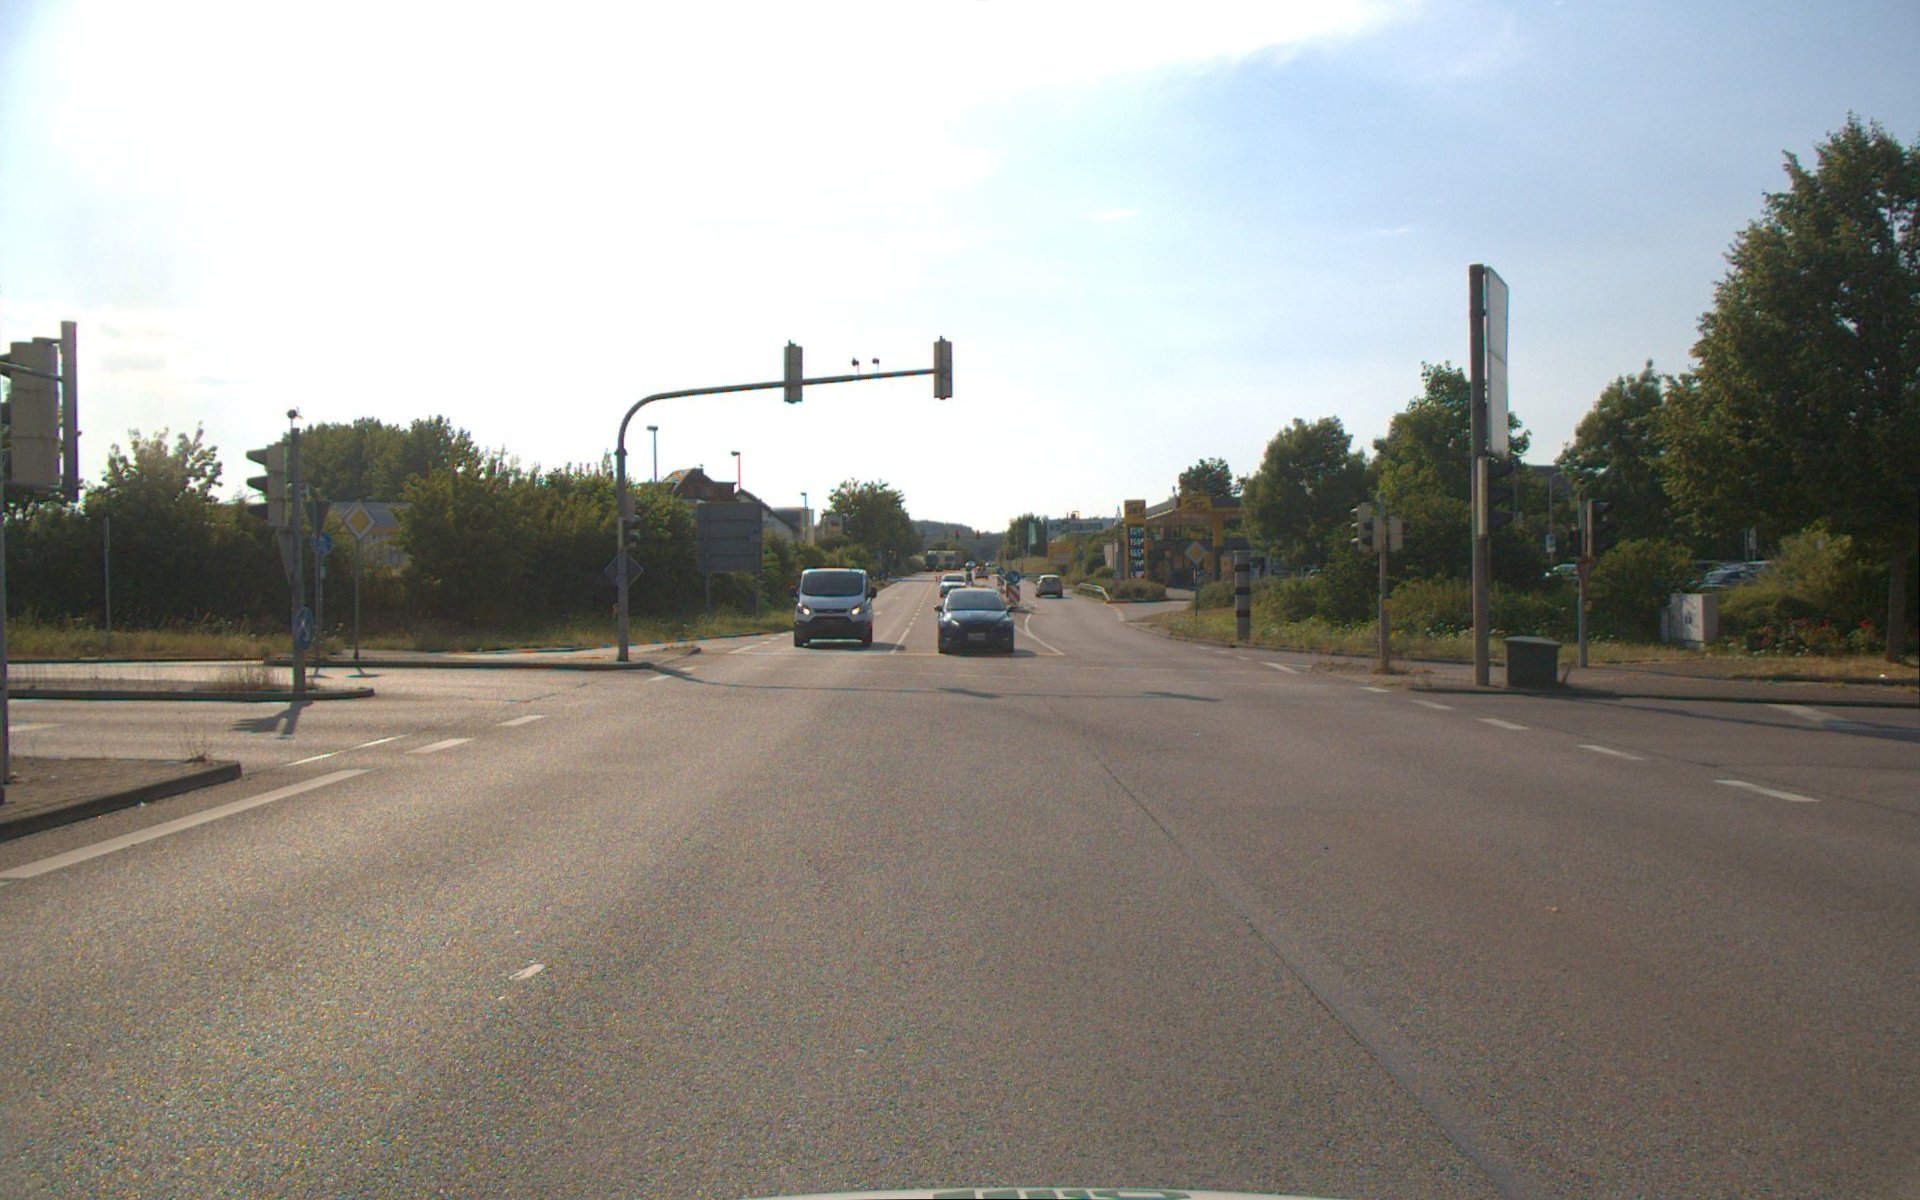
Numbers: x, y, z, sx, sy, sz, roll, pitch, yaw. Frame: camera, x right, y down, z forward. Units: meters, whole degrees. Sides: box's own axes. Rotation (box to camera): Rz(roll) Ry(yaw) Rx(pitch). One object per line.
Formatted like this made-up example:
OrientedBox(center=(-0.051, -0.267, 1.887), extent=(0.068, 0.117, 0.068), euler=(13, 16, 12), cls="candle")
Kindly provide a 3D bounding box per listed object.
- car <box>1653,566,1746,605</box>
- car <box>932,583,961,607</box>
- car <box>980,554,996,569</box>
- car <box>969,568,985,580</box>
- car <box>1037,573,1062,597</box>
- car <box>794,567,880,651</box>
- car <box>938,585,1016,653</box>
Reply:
OrientedBox(center=(41.578, -0.789, 93.032), extent=(4.847, 2.049, 1.987), euler=(2, 0, -22), cls="car")
OrientedBox(center=(-0.892, -0.304, 108.569), extent=(1.819, 1.540, 4.952), euler=(1, 0, -1), cls="car")
OrientedBox(center=(4.245, -5.874, 252.598), extent=(1.954, 2.049, 3.996), euler=(1, 0, -5), cls="car")
OrientedBox(center=(2.101, -3.196, 203.694), extent=(1.707, 1.376, 3.200), euler=(1, 0, -5), cls="car")
OrientedBox(center=(5.903, -0.975, 109.075), extent=(1.518, 1.474, 3.050), euler=(1, 0, 2), cls="car")
OrientedBox(center=(-3.169, 0.177, 43.362), extent=(1.861, 1.981, 4.819), euler=(2, 2, 0), cls="car")
OrientedBox(center=(0.451, 0.442, 39.559), extent=(1.751, 1.523, 4.303), euler=(1, 0, 2), cls="car")
